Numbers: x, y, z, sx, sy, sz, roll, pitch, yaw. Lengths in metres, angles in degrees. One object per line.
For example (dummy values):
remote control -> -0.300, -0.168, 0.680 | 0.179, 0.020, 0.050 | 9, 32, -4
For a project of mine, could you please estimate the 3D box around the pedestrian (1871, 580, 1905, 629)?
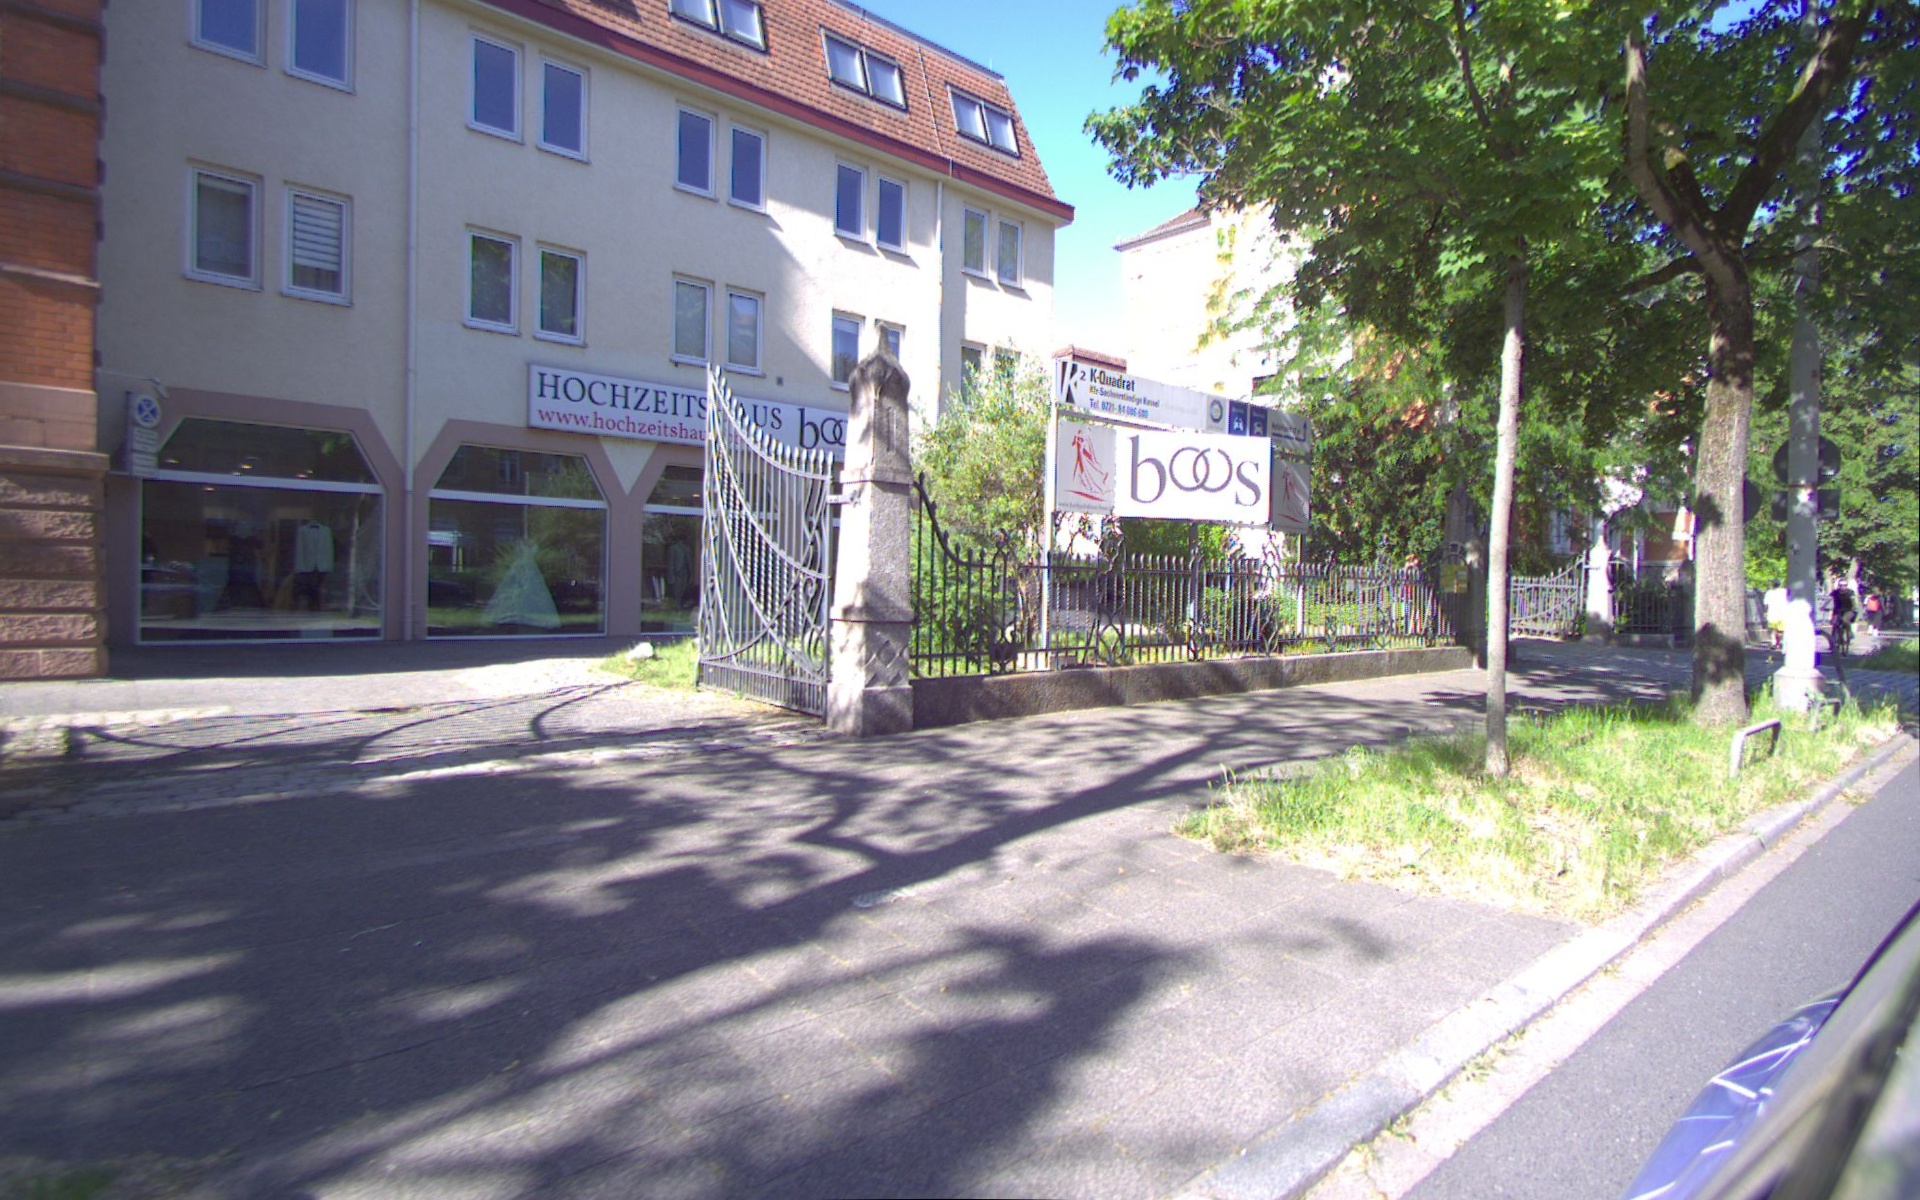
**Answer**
pedestrian -> 32.870, 0.157, 35.837 | 0.806, 1.678, 0.696 | -1, 4, -42

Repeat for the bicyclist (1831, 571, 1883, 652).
bicyclist -> 19.921, 0.249, 22.474 | 0.873, 1.715, 0.647 | 1, 3, -41

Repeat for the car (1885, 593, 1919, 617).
car -> 60.764, 0.347, 63.012 | 2.010, 1.434, 4.418 | 0, 2, -39

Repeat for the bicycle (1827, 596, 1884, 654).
bicycle -> 19.913, 0.533, 22.492 | 1.811, 1.190, 0.654 | 0, 4, -42

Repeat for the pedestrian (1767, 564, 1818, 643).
pedestrian -> 19.873, 0.076, 24.166 | 0.798, 1.809, 0.748 | 0, 4, -45

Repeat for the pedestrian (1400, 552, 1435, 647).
pedestrian -> 8.836, -0.020, 19.558 | 0.527, 1.800, 0.539 | 2, 2, 23
